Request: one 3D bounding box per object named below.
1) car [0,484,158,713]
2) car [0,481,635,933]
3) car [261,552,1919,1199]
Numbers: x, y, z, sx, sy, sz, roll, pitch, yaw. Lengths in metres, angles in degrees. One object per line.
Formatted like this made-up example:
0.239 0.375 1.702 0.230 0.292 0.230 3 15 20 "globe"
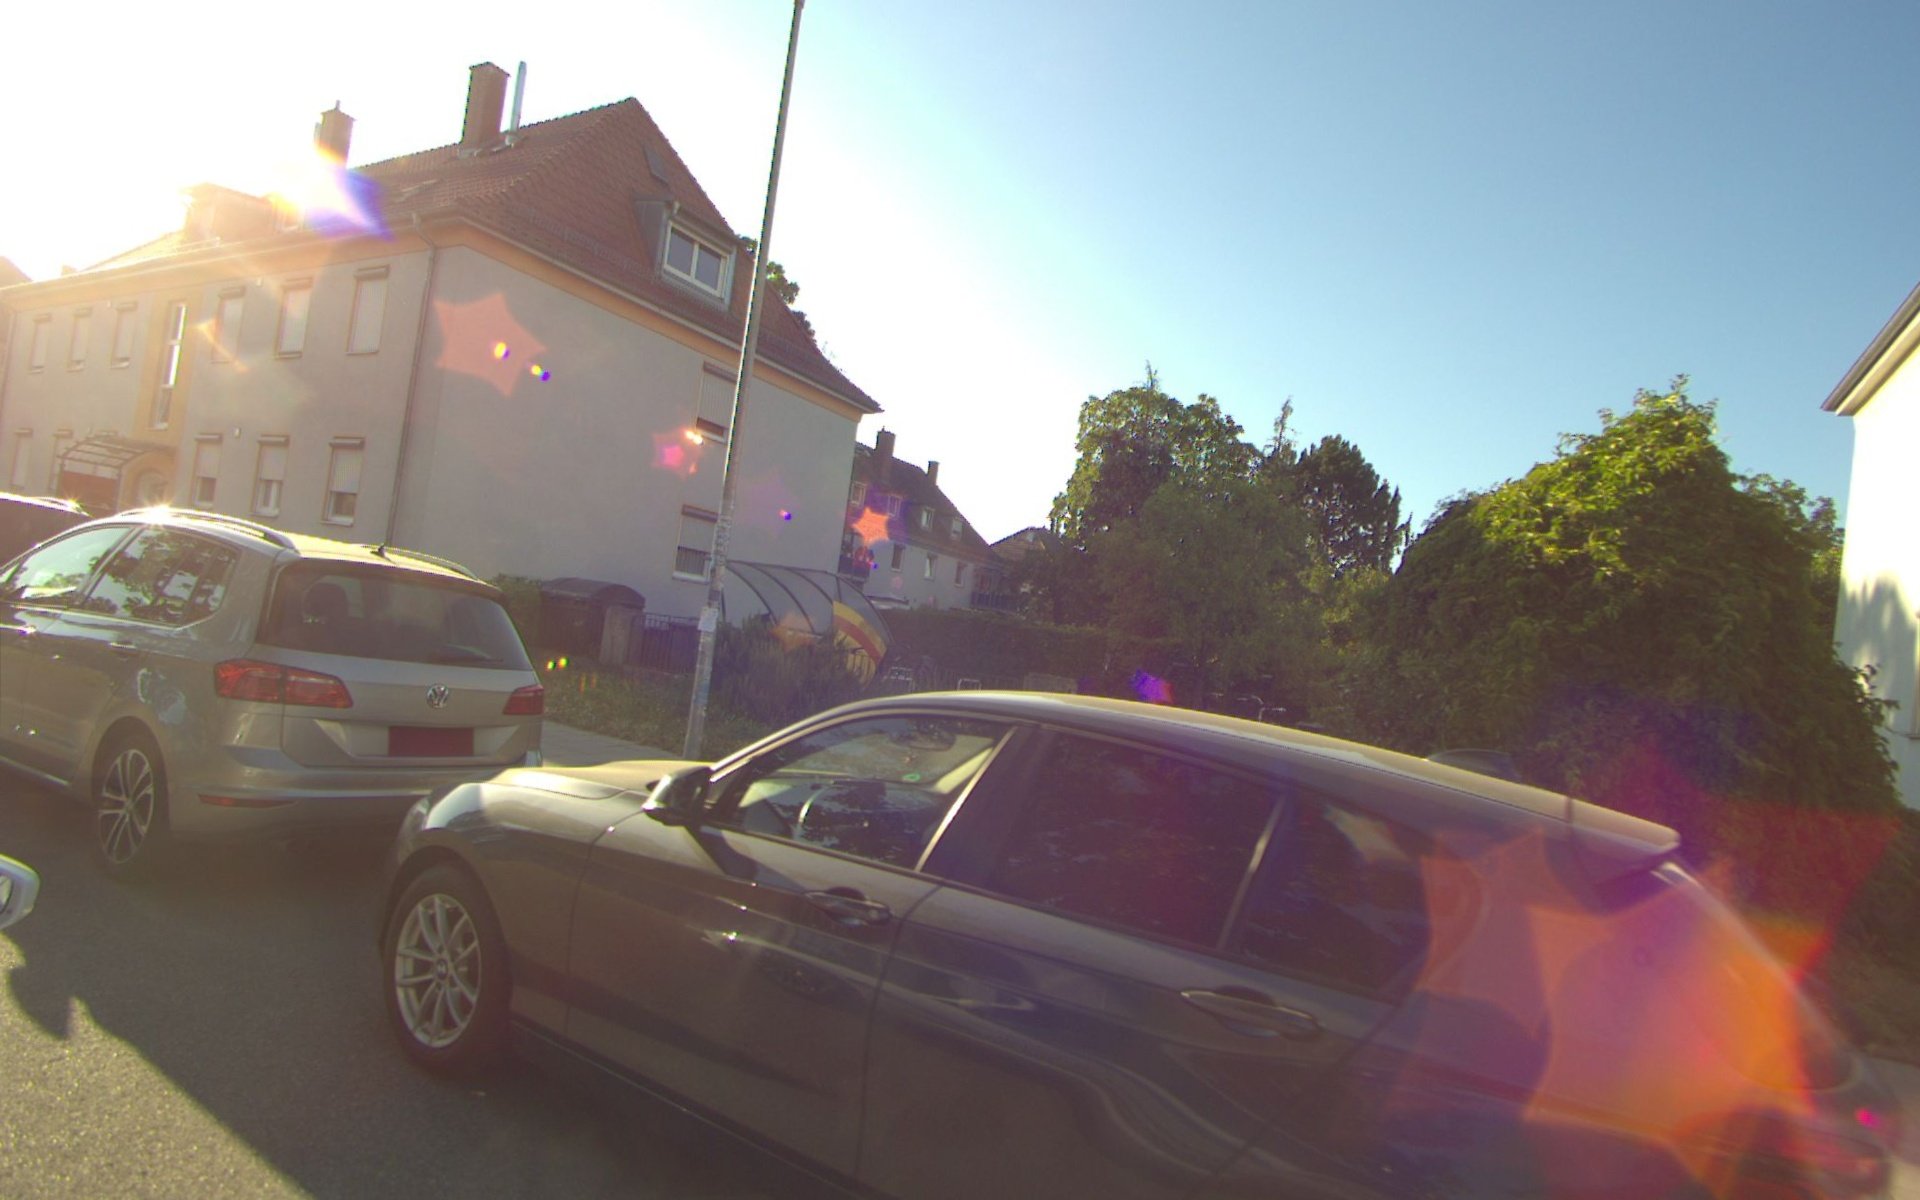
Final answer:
-9.077 -0.214 8.633 4.685 1.652 1.771 6 -4 31 "car"
-4.103 0.335 5.564 4.341 1.578 1.730 7 -3 29 "car"
0.110 0.913 3.064 4.487 1.477 1.999 6 -4 33 "car"
